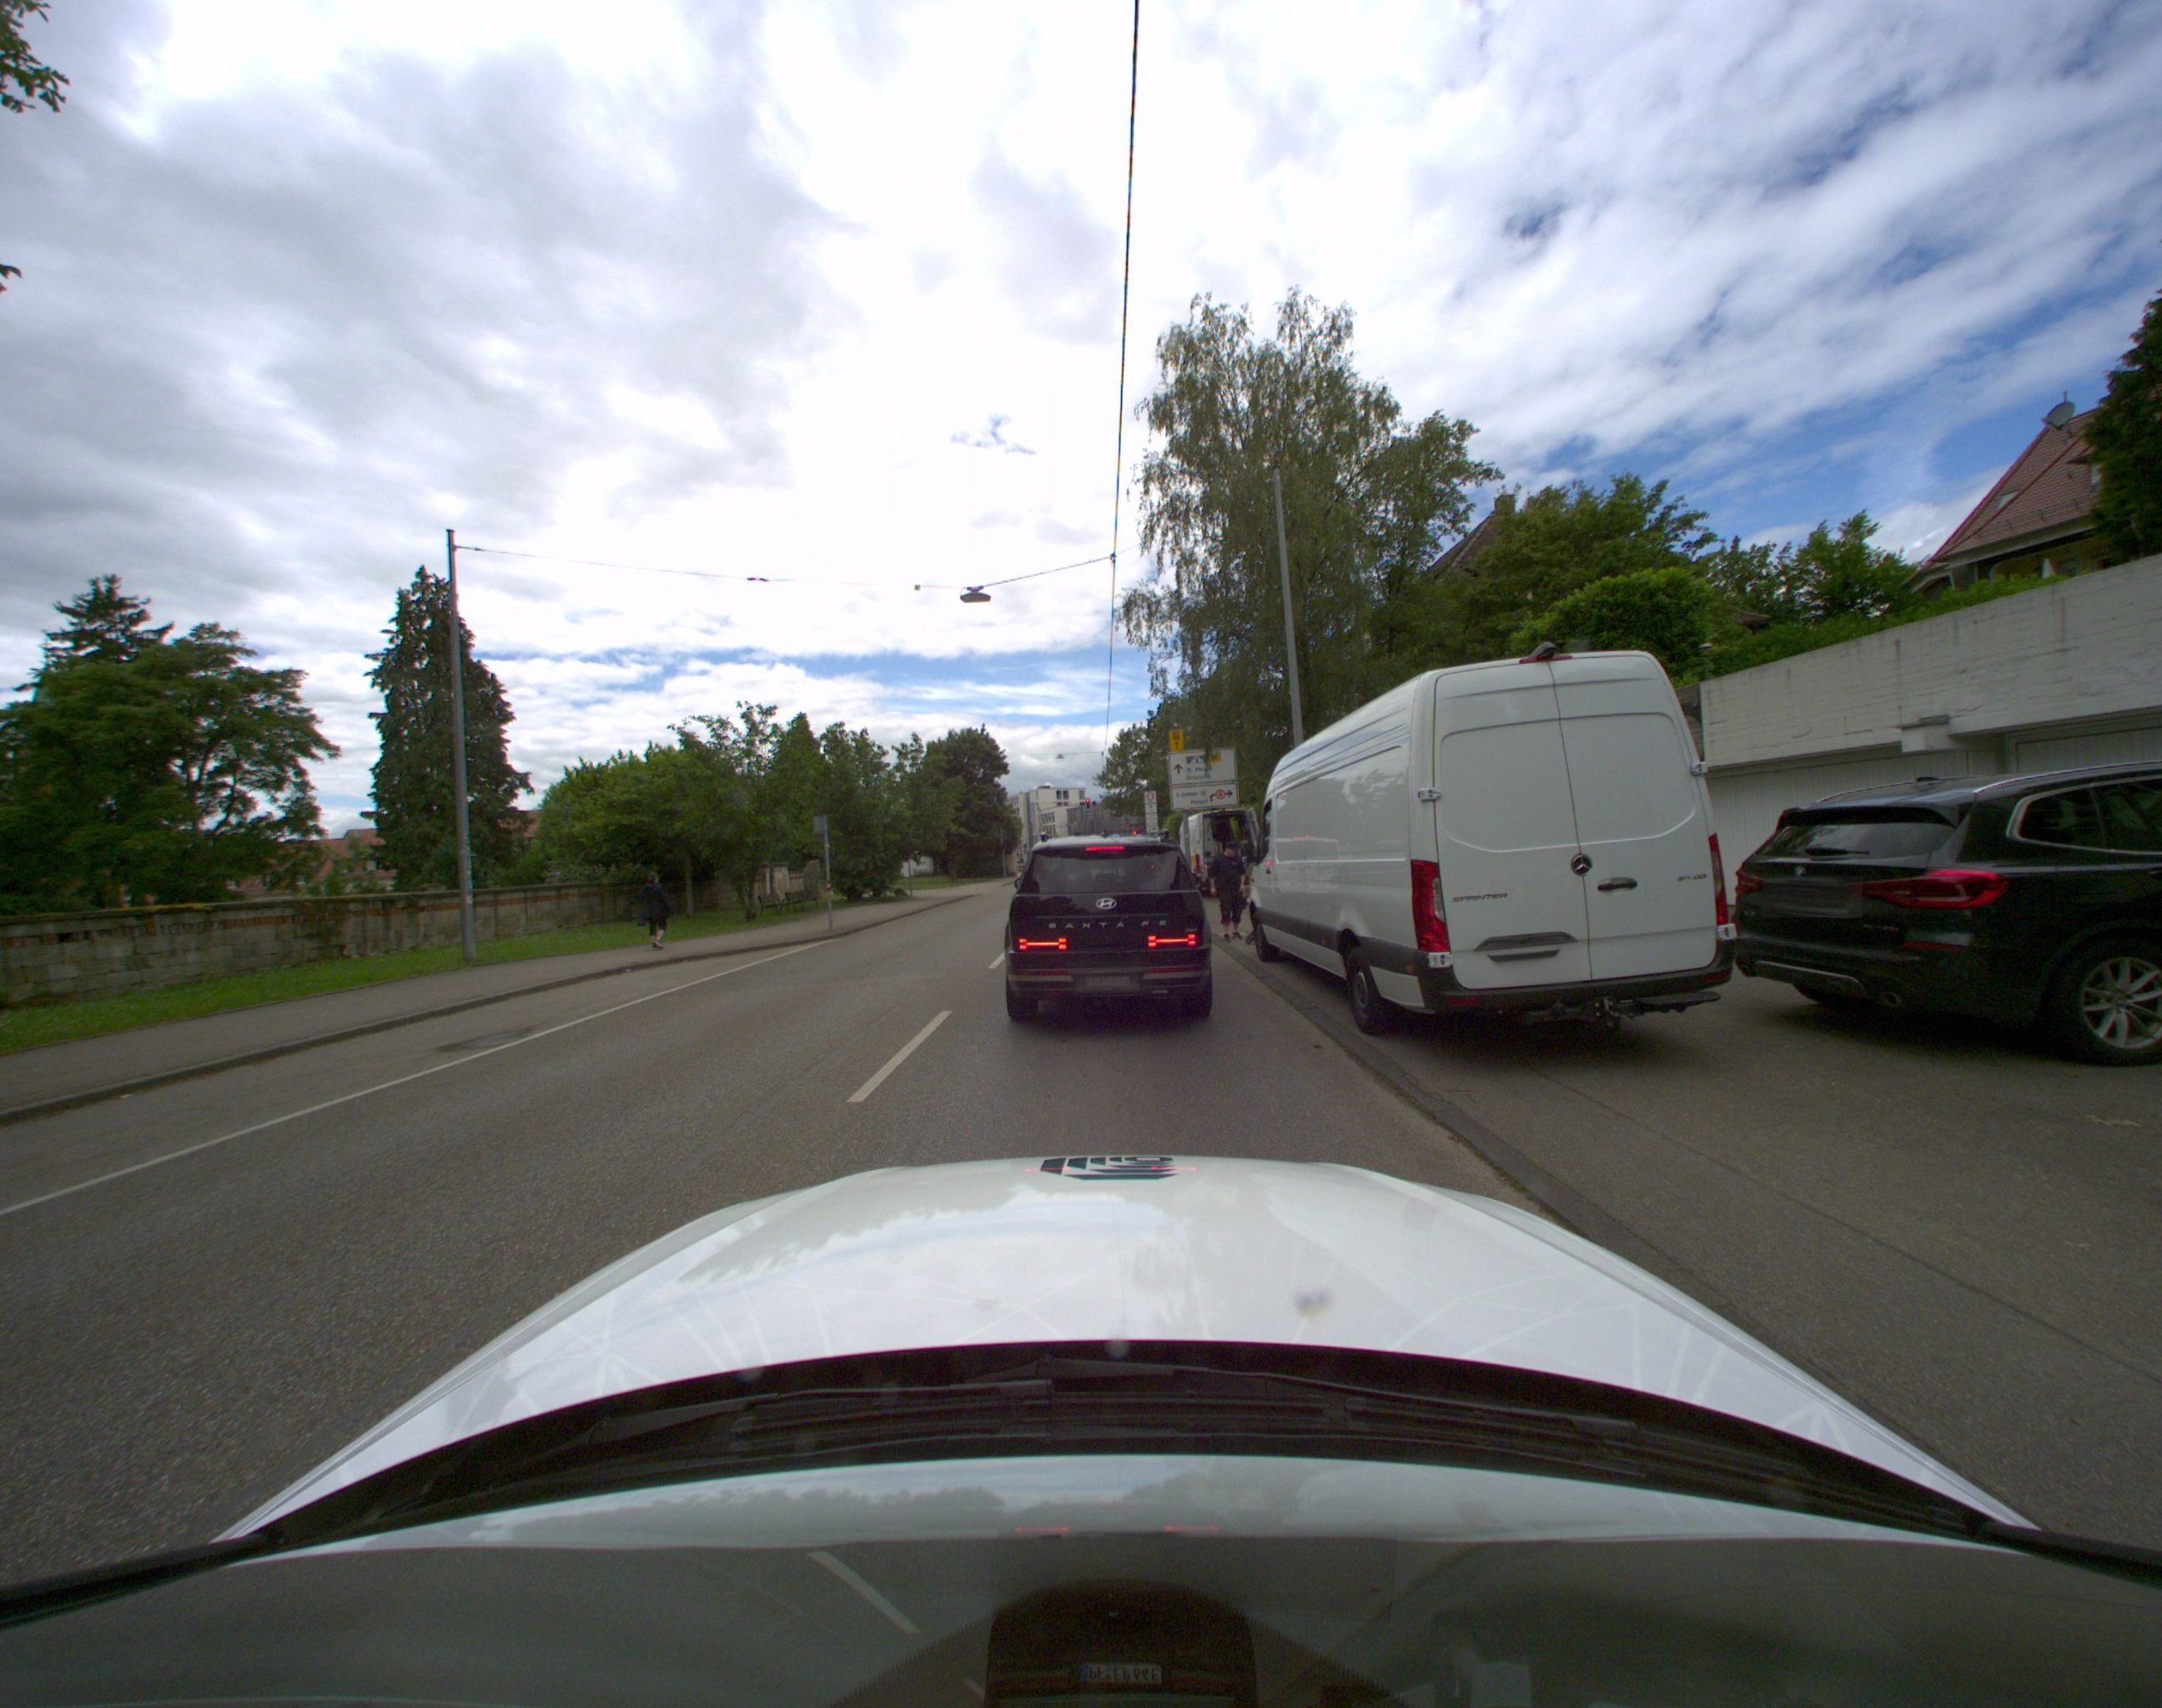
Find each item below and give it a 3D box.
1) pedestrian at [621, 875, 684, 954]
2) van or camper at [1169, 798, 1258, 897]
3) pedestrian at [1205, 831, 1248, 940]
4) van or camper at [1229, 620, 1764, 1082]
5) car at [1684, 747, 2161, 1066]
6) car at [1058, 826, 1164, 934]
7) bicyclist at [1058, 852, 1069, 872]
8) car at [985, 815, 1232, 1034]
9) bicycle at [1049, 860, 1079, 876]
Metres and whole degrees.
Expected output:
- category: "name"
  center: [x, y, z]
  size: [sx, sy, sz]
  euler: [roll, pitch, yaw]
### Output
- category: "pedestrian"
  center: [-8.972, 1.245, 17.084]
  size: [0.746, 1.578, 0.967]
  euler: [-2, 0, 1]
- category: "van or camper"
  center: [4.245, -0.193, 26.938]
  size: [1.957, 2.797, 5.288]
  euler: [-5, 0, 1]
- category: "pedestrian"
  center: [2.417, 0.523, 13.509]
  size: [0.599, 1.743, 0.621]
  euler: [-2, -2, 13]
- category: "van or camper"
  center: [3.097, -0.016, 8.122]
  size: [1.957, 2.627, 6.359]
  euler: [-6, 0, 1]
- category: "car"
  center: [6.853, 0.179, 5.295]
  size: [4.376, 1.652, 1.831]
  euler: [-4, 0, 2]
- category: "car"
  center: [0.616, 0.496, 17.628]
  size: [1.957, 2.001, 4.001]
  euler: [-2, 0, 1]
- category: "bicyclist"
  center: [-1.457, 0.670, 68.613]
  size: [0.854, 1.659, 0.676]
  euler: [-2, -2, -3]
- category: "car"
  center: [0.261, 0.577, 8.632]
  size: [1.957, 1.711, 4.001]
  euler: [-2, 0, 1]
- category: "bicycle"
  center: [-1.453, 1.197, 68.587]
  size: [2.487, 1.279, 0.676]
  euler: [-2, -2, -3]
